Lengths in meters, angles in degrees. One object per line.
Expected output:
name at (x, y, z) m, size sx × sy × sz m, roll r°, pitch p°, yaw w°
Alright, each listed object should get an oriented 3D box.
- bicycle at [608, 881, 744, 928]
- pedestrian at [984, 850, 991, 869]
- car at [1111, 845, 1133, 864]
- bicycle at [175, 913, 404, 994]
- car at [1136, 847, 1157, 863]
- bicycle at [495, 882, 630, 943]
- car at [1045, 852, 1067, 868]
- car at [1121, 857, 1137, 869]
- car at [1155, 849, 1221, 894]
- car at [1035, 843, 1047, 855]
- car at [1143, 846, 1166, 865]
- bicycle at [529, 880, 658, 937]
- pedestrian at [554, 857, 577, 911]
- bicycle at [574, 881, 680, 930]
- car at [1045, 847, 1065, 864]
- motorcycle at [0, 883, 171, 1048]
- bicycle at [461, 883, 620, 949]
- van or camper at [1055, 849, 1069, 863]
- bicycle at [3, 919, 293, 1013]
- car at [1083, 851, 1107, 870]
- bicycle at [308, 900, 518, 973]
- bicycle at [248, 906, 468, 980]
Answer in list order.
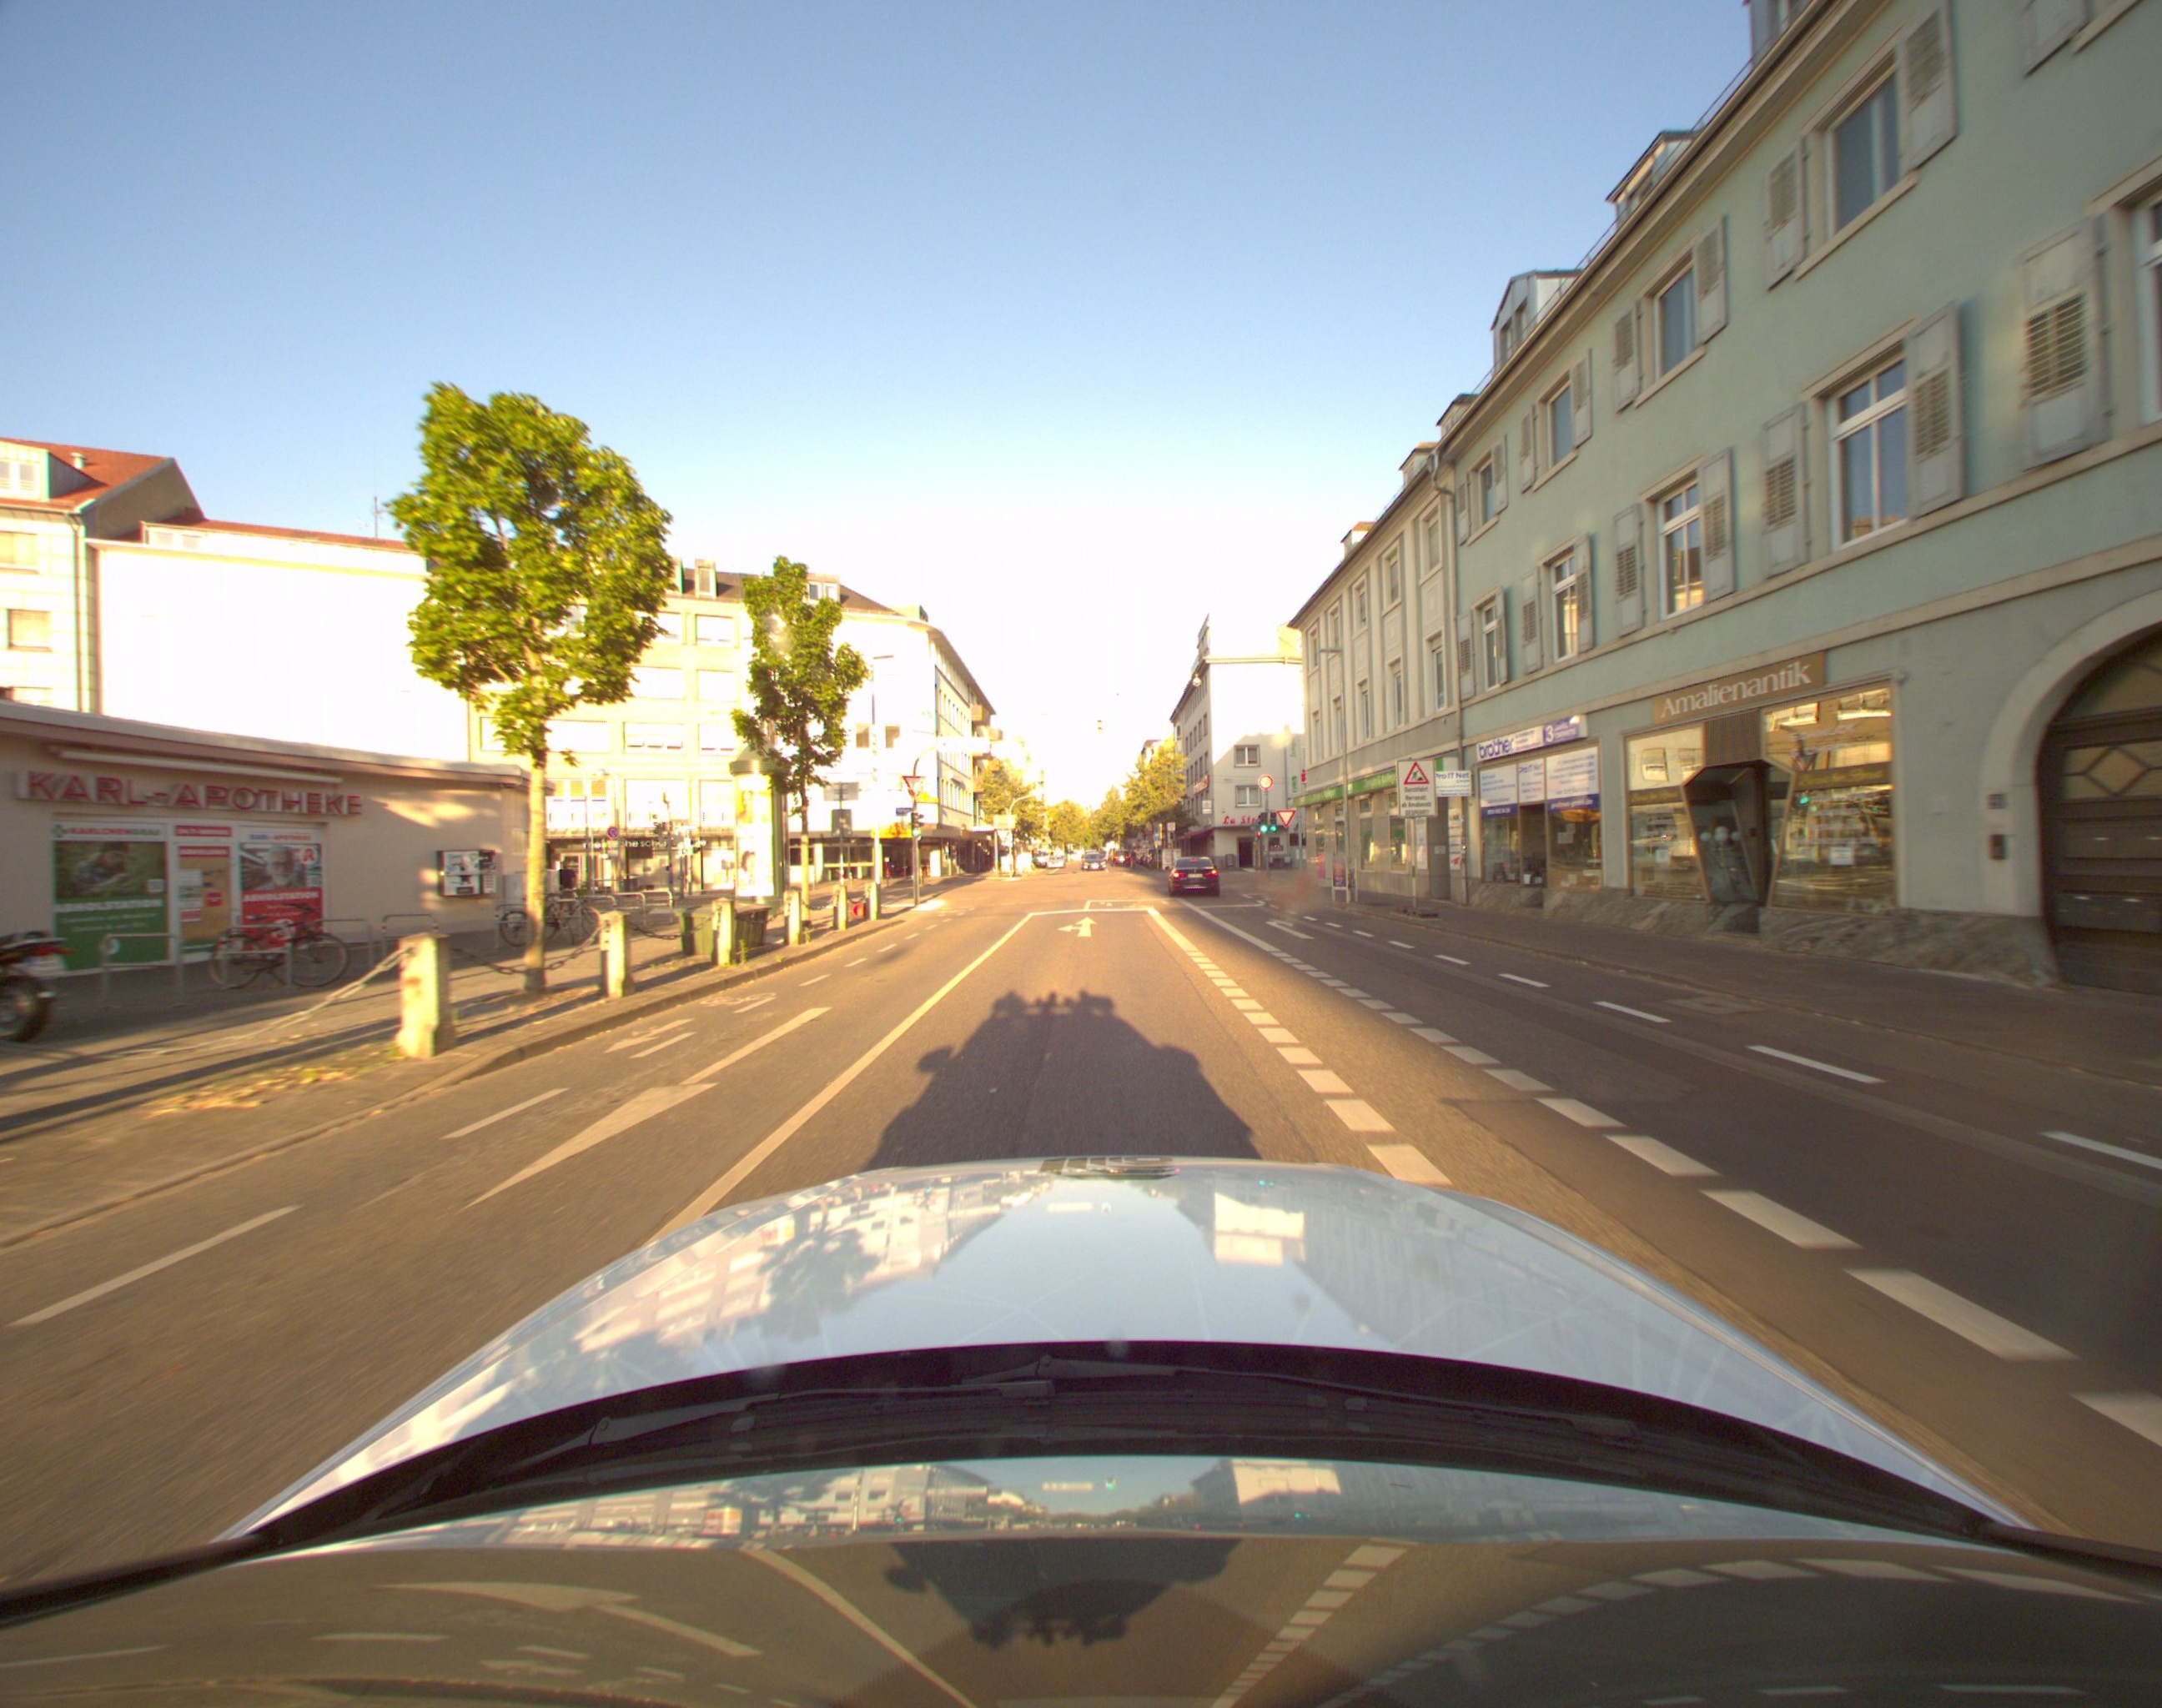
bicycle at (-9.957, 1.229, 20.080) m, size 2.929 × 1.022 × 0.844 m, roll -2°, pitch 0°, yaw 3°
pedestrian at (-8.533, 0.535, 74.366) m, size 0.601 × 1.721 × 0.575 m, roll -1°, pitch 0°, yaw -13°
car at (4.049, 0.041, 80.549) m, size 1.986 × 1.750 × 4.001 m, roll -1°, pitch 0°, yaw 1°
bicycle at (-10.576, 1.315, 10.936) m, size 2.321 × 0.919 × 0.700 m, roll -2°, pitch 0°, yaw -2°
car at (6.878, 0.074, 86.316) m, size 1.986 × 1.617 × 4.002 m, roll -1°, pitch 0°, yaw 2°
bicycle at (-10.761, 1.208, 16.948) m, size 2.230 × 1.135 × 0.811 m, roll -2°, pitch 0°, yaw -2°
car at (-2.513, 0.571, 82.653) m, size 1.886 × 1.596 × 4.003 m, roll -1°, pitch 0°, yaw 3°
car at (6.686, 1.182, 113.769) m, size 1.776 × 1.596 × 3.632 m, roll -1°, pitch 0°, yaw -2°
car at (3.897, 0.596, 30.257) m, size 1.882 × 1.492 × 4.204 m, roll -1°, pitch 0°, yaw 0°
car at (-6.958, -0.819, 141.883) m, size 1.820 × 2.013 × 3.678 m, roll -1°, pitch 0°, yaw 3°
car at (6.920, 0.139, 77.064) m, size 1.986 × 1.779 × 4.002 m, roll -1°, pitch 0°, yaw 2°
bicycle at (-10.663, 1.185, 17.864) m, size 2.314 × 1.131 × 0.800 m, roll -2°, pitch 0°, yaw 2°
pedestrian at (-15.772, 0.906, 24.930) m, size 0.551 × 1.610 × 0.636 m, roll -2°, pitch 0°, yaw -33°
bicycle at (-10.687, 1.205, 19.214) m, size 2.084 × 1.063 × 0.682 m, roll -2°, pitch 0°, yaw 1°
car at (-2.915, 0.159, 91.887) m, size 1.985 × 1.750 × 4.003 m, roll -1°, pitch 0°, yaw 3°
motorcycle at (-10.558, 1.043, 7.786) m, size 2.405 × 1.426 × 1.113 m, roll -2°, pitch 0°, yaw 0°
bicycle at (-10.401, 1.182, 15.730) m, size 2.516 × 1.146 × 0.700 m, roll -2°, pitch 0°, yaw -2°
van or camper at (-3.524, 0.362, 153.093) m, size 2.467 × 2.405 × 3.996 m, roll -1°, pitch 0°, yaw -3°
bicycle at (-10.931, 1.298, 9.601) m, size 2.516 × 0.919 × 0.700 m, roll -2°, pitch 0°, yaw -2°
car at (1.200, 0.538, 67.693) m, size 1.877 × 1.486 × 4.003 m, roll -1°, pitch 0°, yaw 3°
bicycle at (-10.638, 1.295, 13.053) m, size 2.516 × 0.997 × 0.933 m, roll -2°, pitch 0°, yaw -2°
bicycle at (-10.540, 1.283, 11.933) m, size 2.516 × 0.919 × 0.700 m, roll -2°, pitch 0°, yaw -2°
